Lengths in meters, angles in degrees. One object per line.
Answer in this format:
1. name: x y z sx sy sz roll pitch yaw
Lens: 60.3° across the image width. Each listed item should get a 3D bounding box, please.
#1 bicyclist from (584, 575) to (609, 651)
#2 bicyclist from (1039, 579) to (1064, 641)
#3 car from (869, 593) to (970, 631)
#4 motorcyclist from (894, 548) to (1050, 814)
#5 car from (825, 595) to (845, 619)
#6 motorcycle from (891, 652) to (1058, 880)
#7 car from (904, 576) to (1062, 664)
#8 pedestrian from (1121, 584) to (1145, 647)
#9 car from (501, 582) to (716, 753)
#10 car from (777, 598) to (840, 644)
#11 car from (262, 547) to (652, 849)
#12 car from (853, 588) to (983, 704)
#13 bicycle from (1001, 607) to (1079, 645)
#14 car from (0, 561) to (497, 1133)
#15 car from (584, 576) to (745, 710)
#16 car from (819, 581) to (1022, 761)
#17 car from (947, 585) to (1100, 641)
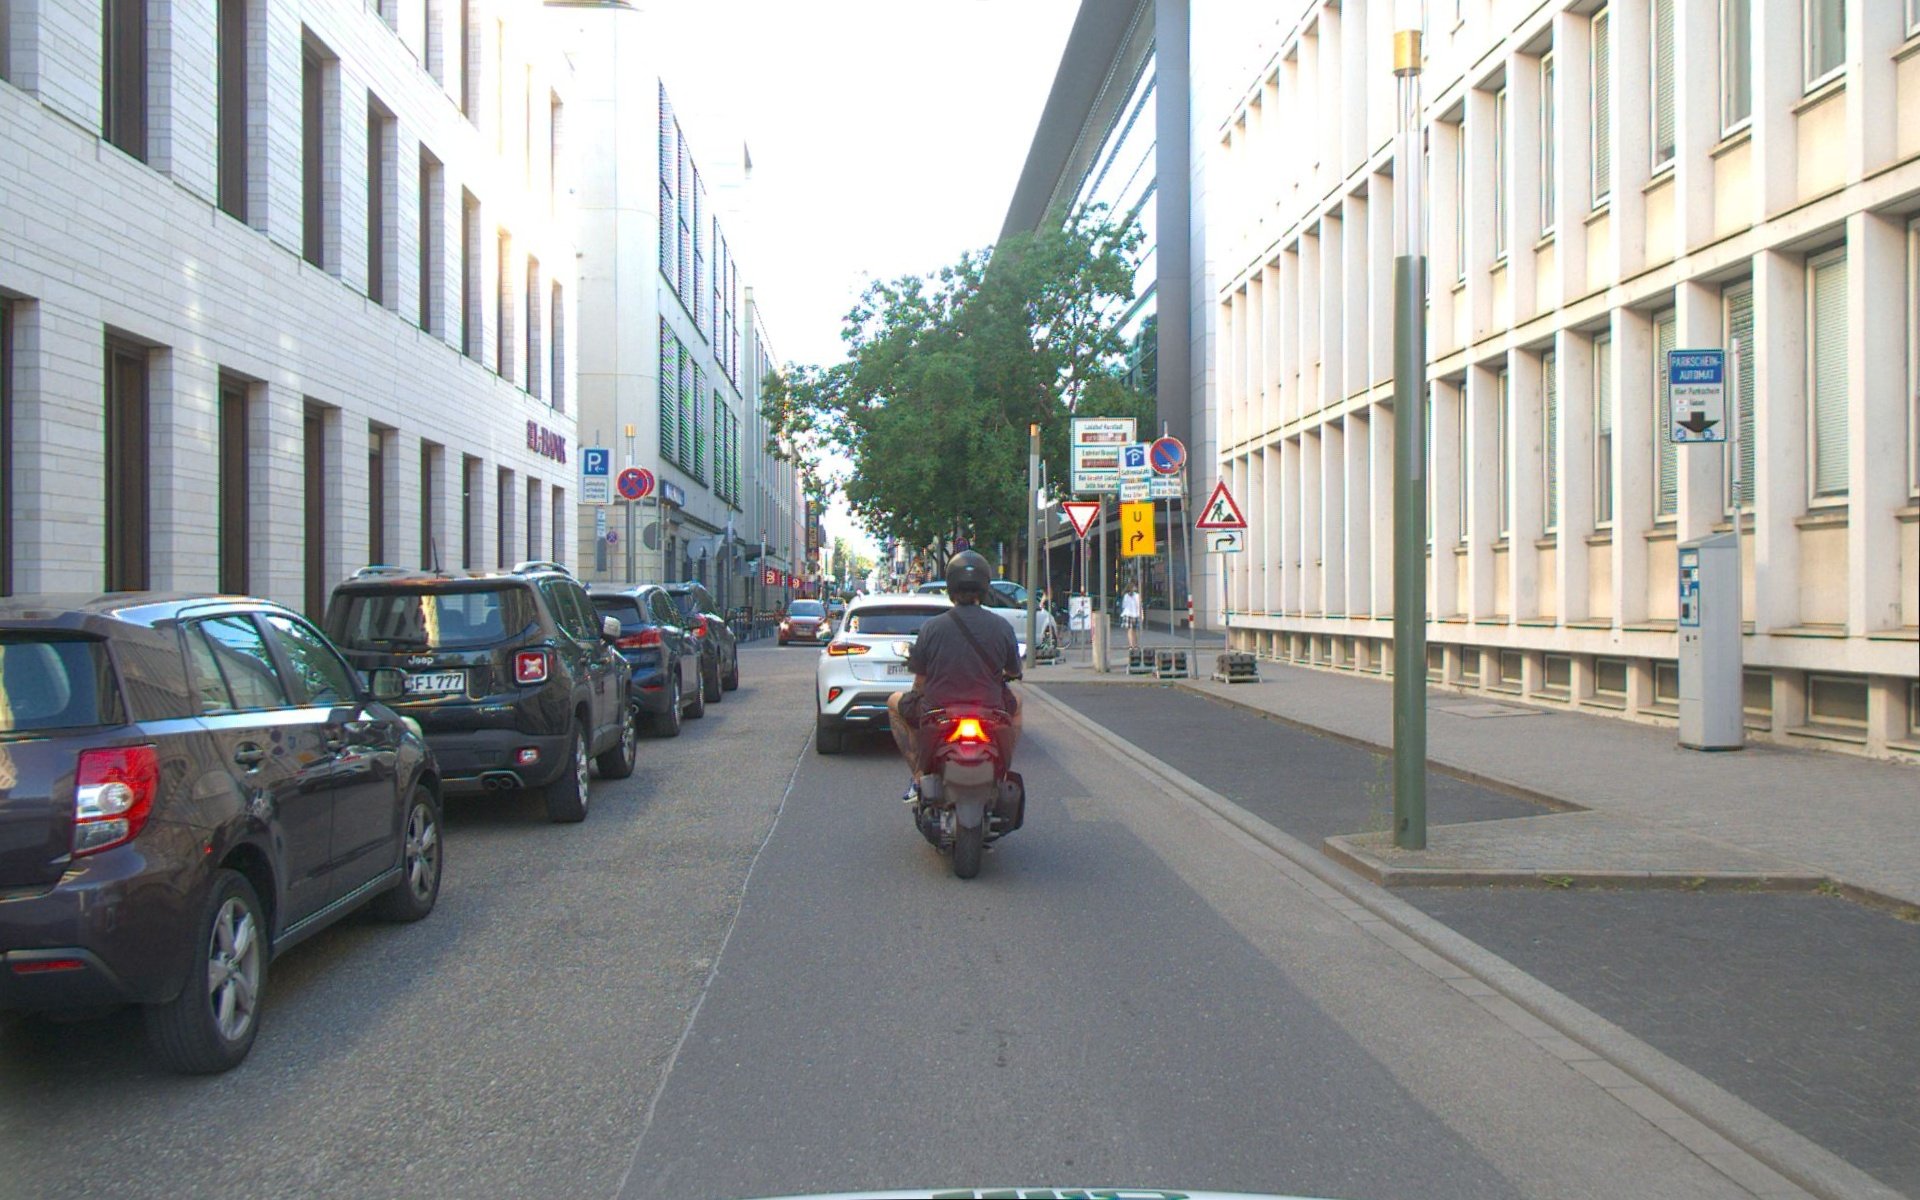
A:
1. bicyclist: -8.444 0.298 38.450 0.541 1.762 0.499 0 -1 -14
2. bicyclist: 2.460 0.269 44.501 0.617 1.654 0.498 0 -1 0
3. car: -2.072 0.593 83.798 4.908 1.525 1.998 -4 0 -6
4. motorcyclist: 0.060 0.446 9.270 0.849 1.452 0.455 0 -1 -2
5. car: -12.807 0.675 168.916 1.955 2.370 5.015 1 0 -5
6. motorcycle: 0.047 0.880 9.405 0.855 1.129 1.839 0 -1 -2
7. car: 0.581 0.388 36.075 1.785 1.674 4.493 -2 1 23
8. pedestrian: 4.480 0.402 42.729 0.548 1.611 0.598 0 -1 -1
9. car: -3.790 0.648 18.498 1.705 1.622 4.151 -3 1 -4
10. car: -5.102 0.748 56.196 1.785 1.491 4.262 -1 -2 -1
11. car: -3.429 0.572 12.078 1.786 1.744 4.015 -3 1 -4
12. car: -0.741 0.634 25.743 1.786 1.568 4.361 -3 1 -4
13. bicycle: 2.148 0.706 44.496 2.059 1.012 0.518 0 -1 0
14. car: -3.229 0.664 6.631 1.786 1.568 4.260 0 1 -4
15. car: -4.230 0.553 24.246 1.786 1.707 4.260 -3 1 -4
16. car: -0.485 0.602 16.716 1.786 1.568 4.260 -1 1 -4
17. car: 2.113 0.448 56.141 4.908 1.477 1.998 -4 0 -6
